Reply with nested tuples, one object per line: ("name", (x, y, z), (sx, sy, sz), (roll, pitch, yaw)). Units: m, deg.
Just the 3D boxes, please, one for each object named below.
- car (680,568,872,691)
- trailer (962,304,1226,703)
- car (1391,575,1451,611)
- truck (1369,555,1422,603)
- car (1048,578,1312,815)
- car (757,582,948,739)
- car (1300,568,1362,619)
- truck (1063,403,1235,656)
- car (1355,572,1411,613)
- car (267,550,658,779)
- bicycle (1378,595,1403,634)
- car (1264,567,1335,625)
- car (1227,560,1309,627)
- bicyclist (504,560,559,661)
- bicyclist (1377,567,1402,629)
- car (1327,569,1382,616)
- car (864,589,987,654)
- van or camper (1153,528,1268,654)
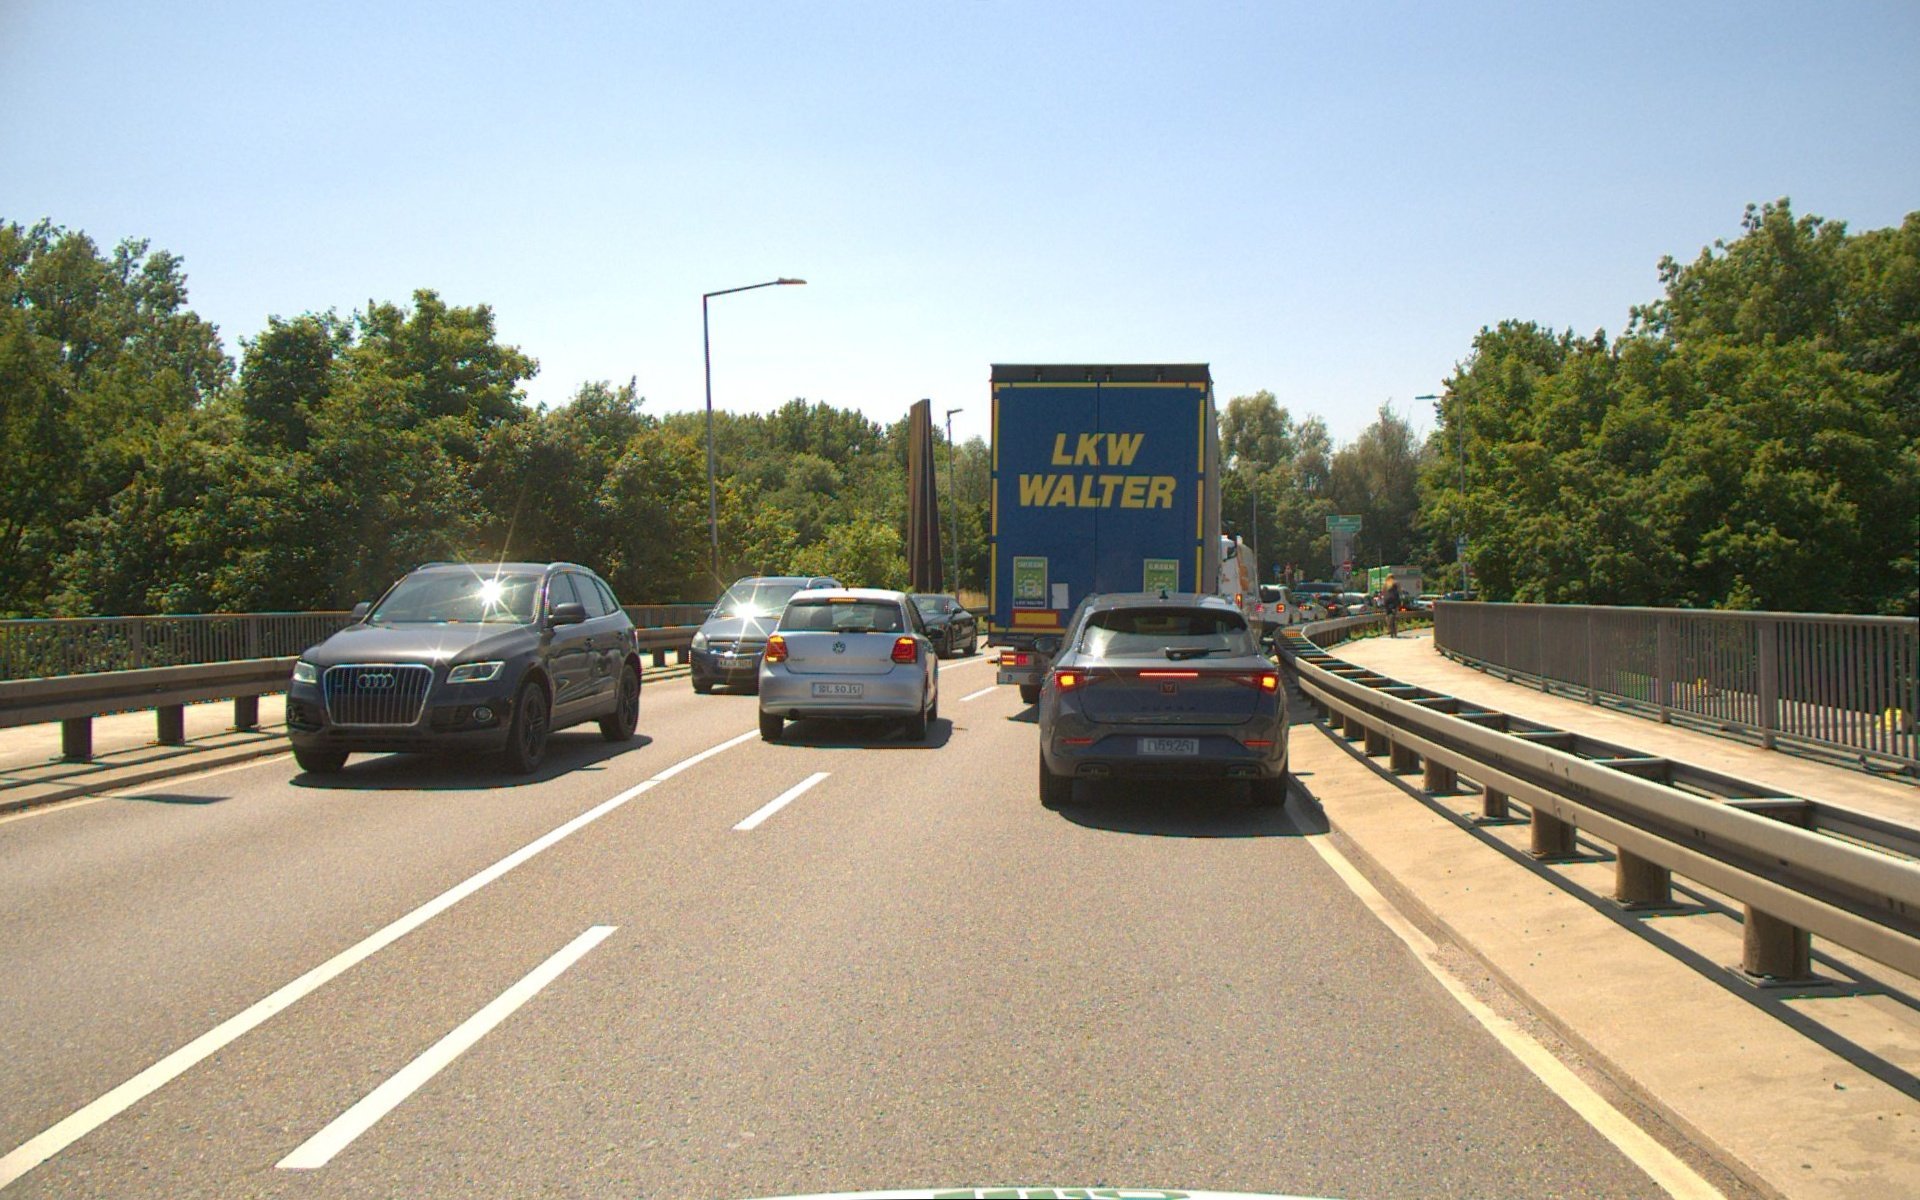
("car", (-2.627, 0.377, 24.611), (1.670, 1.654, 4.257), (1, 1, 10))
("trailer", (2.491, -1.173, 24.987), (2.842, 4.495, 12.444), (1, 1, 10))
("car", (22.653, -0.334, 81.177), (1.956, 1.602, 3.993), (2, -1, 29))
("truck", (27.464, -1.330, 104.489), (2.285, 2.924, 5.945), (0, 1, 6))
("car", (1.488, 0.585, 12.372), (1.642, 1.481, 3.960), (0, 0, 3))
("car", (-1.023, 0.541, 17.476), (1.642, 1.435, 3.976), (1, 1, 2))
("car", (14.076, -0.259, 62.571), (1.685, 1.876, 4.000), (0, 1, 22))
("truck", (3.908, -1.305, 32.879), (2.842, 4.495, 6.561), (1, 1, 11))
("car", (19.202, -0.323, 74.986), (1.652, 1.791, 3.996), (0, 0, 26))
("car", (-4.040, 0.451, 14.244), (1.763, 1.669, 4.303), (0, 0, 5))
("bicycle", (12.040, 0.395, 46.294), (0.569, 1.053, 1.486), (-3, 0, 12))
("car", (11.238, -0.168, 54.601), (1.685, 1.834, 4.001), (0, 1, 21))
("car", (9.030, -0.228, 48.277), (1.685, 1.876, 4.001), (0, 1, 20))
("bicyclist", (-6.663, 0.156, 25.742), (0.571, 1.547, 0.896), (0, 0, 5))
("bicyclist", (12.008, -0.064, 46.230), (0.565, 1.712, 0.730), (-2, 0, 12))
("car", (16.375, -0.347, 68.575), (1.685, 1.876, 4.000), (0, 1, 22))
("car", (-0.696, 0.424, 36.302), (1.642, 1.331, 3.976), (0, 1, 15))
("van or camper", (6.300, -0.260, 40.972), (2.108, 2.864, 6.392), (0, 1, 15))
